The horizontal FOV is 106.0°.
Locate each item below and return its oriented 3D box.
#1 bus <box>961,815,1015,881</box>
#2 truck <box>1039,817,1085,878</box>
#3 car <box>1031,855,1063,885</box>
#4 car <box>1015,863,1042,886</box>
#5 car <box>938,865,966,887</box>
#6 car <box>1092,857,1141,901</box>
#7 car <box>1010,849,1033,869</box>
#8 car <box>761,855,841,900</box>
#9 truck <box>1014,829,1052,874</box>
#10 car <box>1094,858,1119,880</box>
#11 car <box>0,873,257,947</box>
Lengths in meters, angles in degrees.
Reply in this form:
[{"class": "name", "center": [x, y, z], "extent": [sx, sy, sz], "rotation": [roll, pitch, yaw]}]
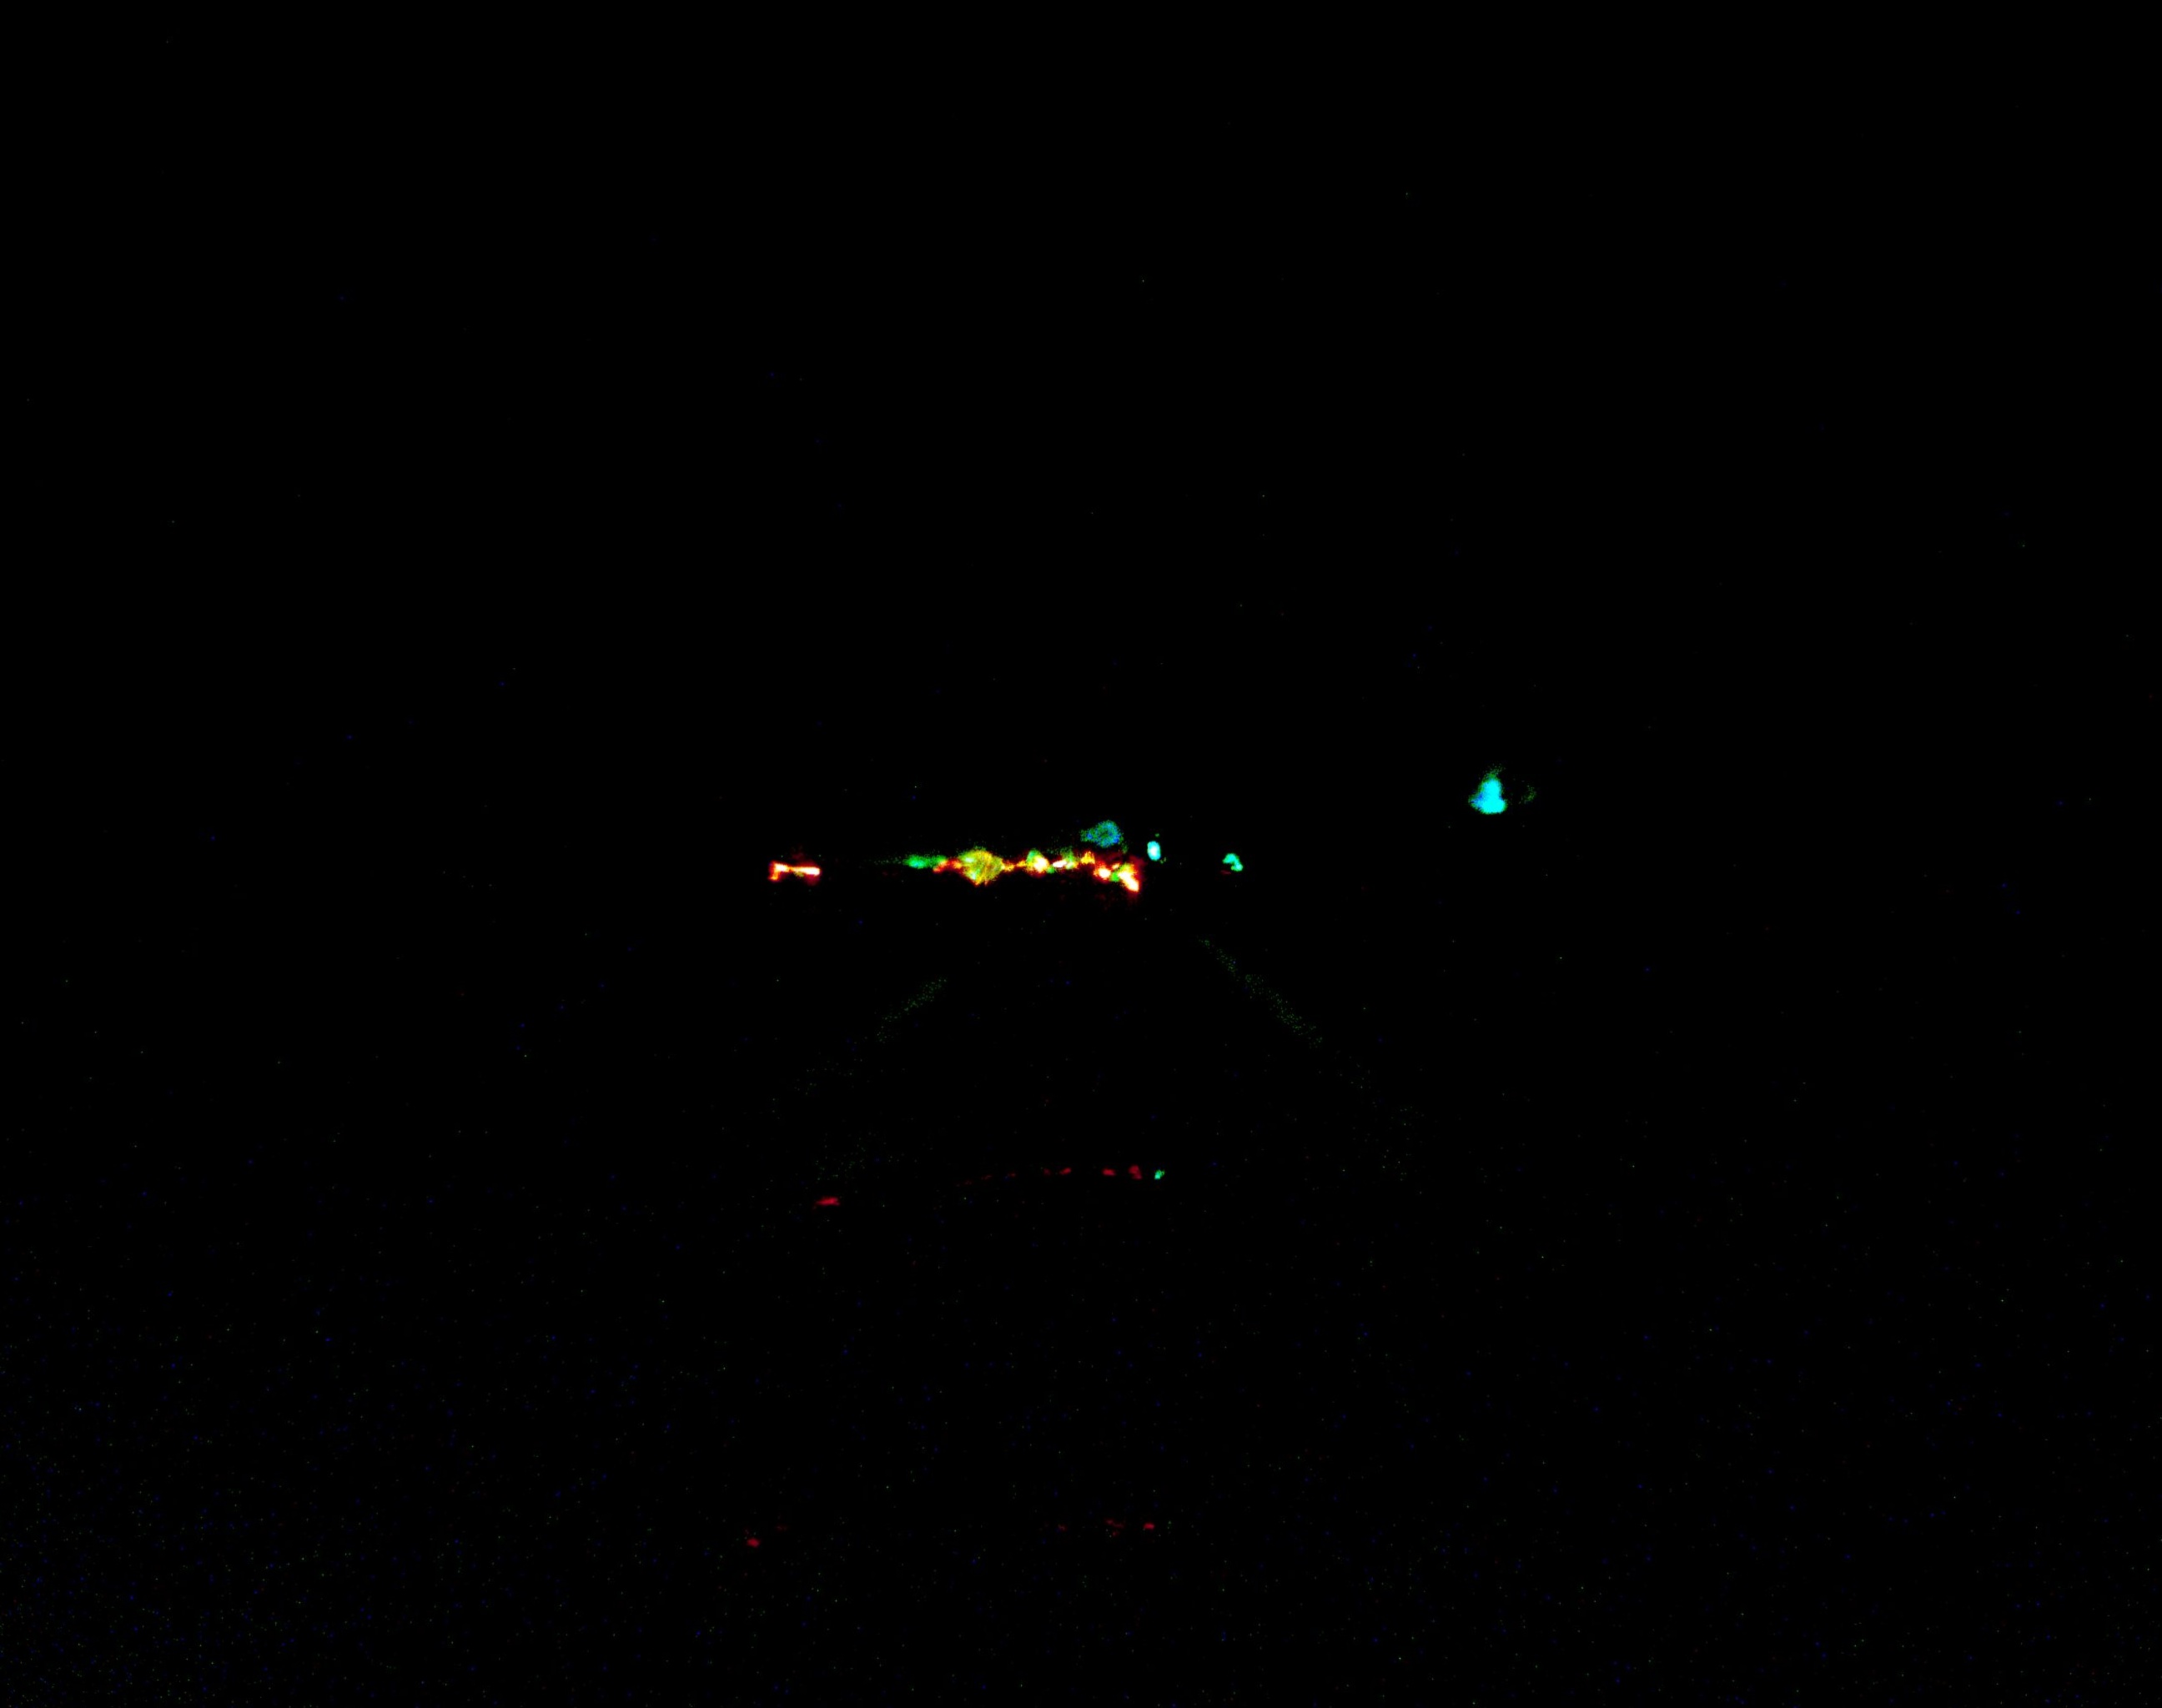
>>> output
[{"class": "bus", "center": [-6.779, -0.351, 60.936], "extent": [3.089, 4.508, 10.904], "rotation": [0, -1, -2]}, {"class": "truck", "center": [-1.727, -0.549, 81.196], "extent": [4.196, 5.648, 11.468], "rotation": [0, -1, 1]}, {"class": "car", "center": [-2.320, 1.103, 57.309], "extent": [2.120, 2.014, 4.643], "rotation": [0, -1, -1]}, {"class": "car", "center": [-4.252, 1.651, 66.586], "extent": [1.988, 1.807, 3.997], "rotation": [0, -1, -2]}, {"class": "car", "center": [-10.058, 1.716, 63.572], "extent": [1.690, 1.650, 3.836], "rotation": [0, -1, -3]}, {"class": "car", "center": [1.507, 1.037, 35.112], "extent": [1.986, 1.807, 4.001], "rotation": [0, -1, 1]}, {"class": "car", "center": [-5.615, 0.508, 77.250], "extent": [1.988, 1.807, 3.997], "rotation": [0, -1, -2]}, {"class": "car", "center": [-10.697, 0.865, 31.444], "extent": [1.990, 1.596, 3.993], "rotation": [0, -1, -5]}, {"class": "truck", "center": [-6.316, -0.264, 109.510], "extent": [4.196, 5.648, 11.468], "rotation": [0, -1, 1]}, {"class": "car", "center": [2.343, 1.358, 76.281], "extent": [2.120, 2.014, 4.643], "rotation": [0, -1, -1]}, {"class": "car", "center": [-23.778, 1.295, 20.299], "extent": [1.873, 1.557, 4.460], "rotation": [0, -1, 0]}]
